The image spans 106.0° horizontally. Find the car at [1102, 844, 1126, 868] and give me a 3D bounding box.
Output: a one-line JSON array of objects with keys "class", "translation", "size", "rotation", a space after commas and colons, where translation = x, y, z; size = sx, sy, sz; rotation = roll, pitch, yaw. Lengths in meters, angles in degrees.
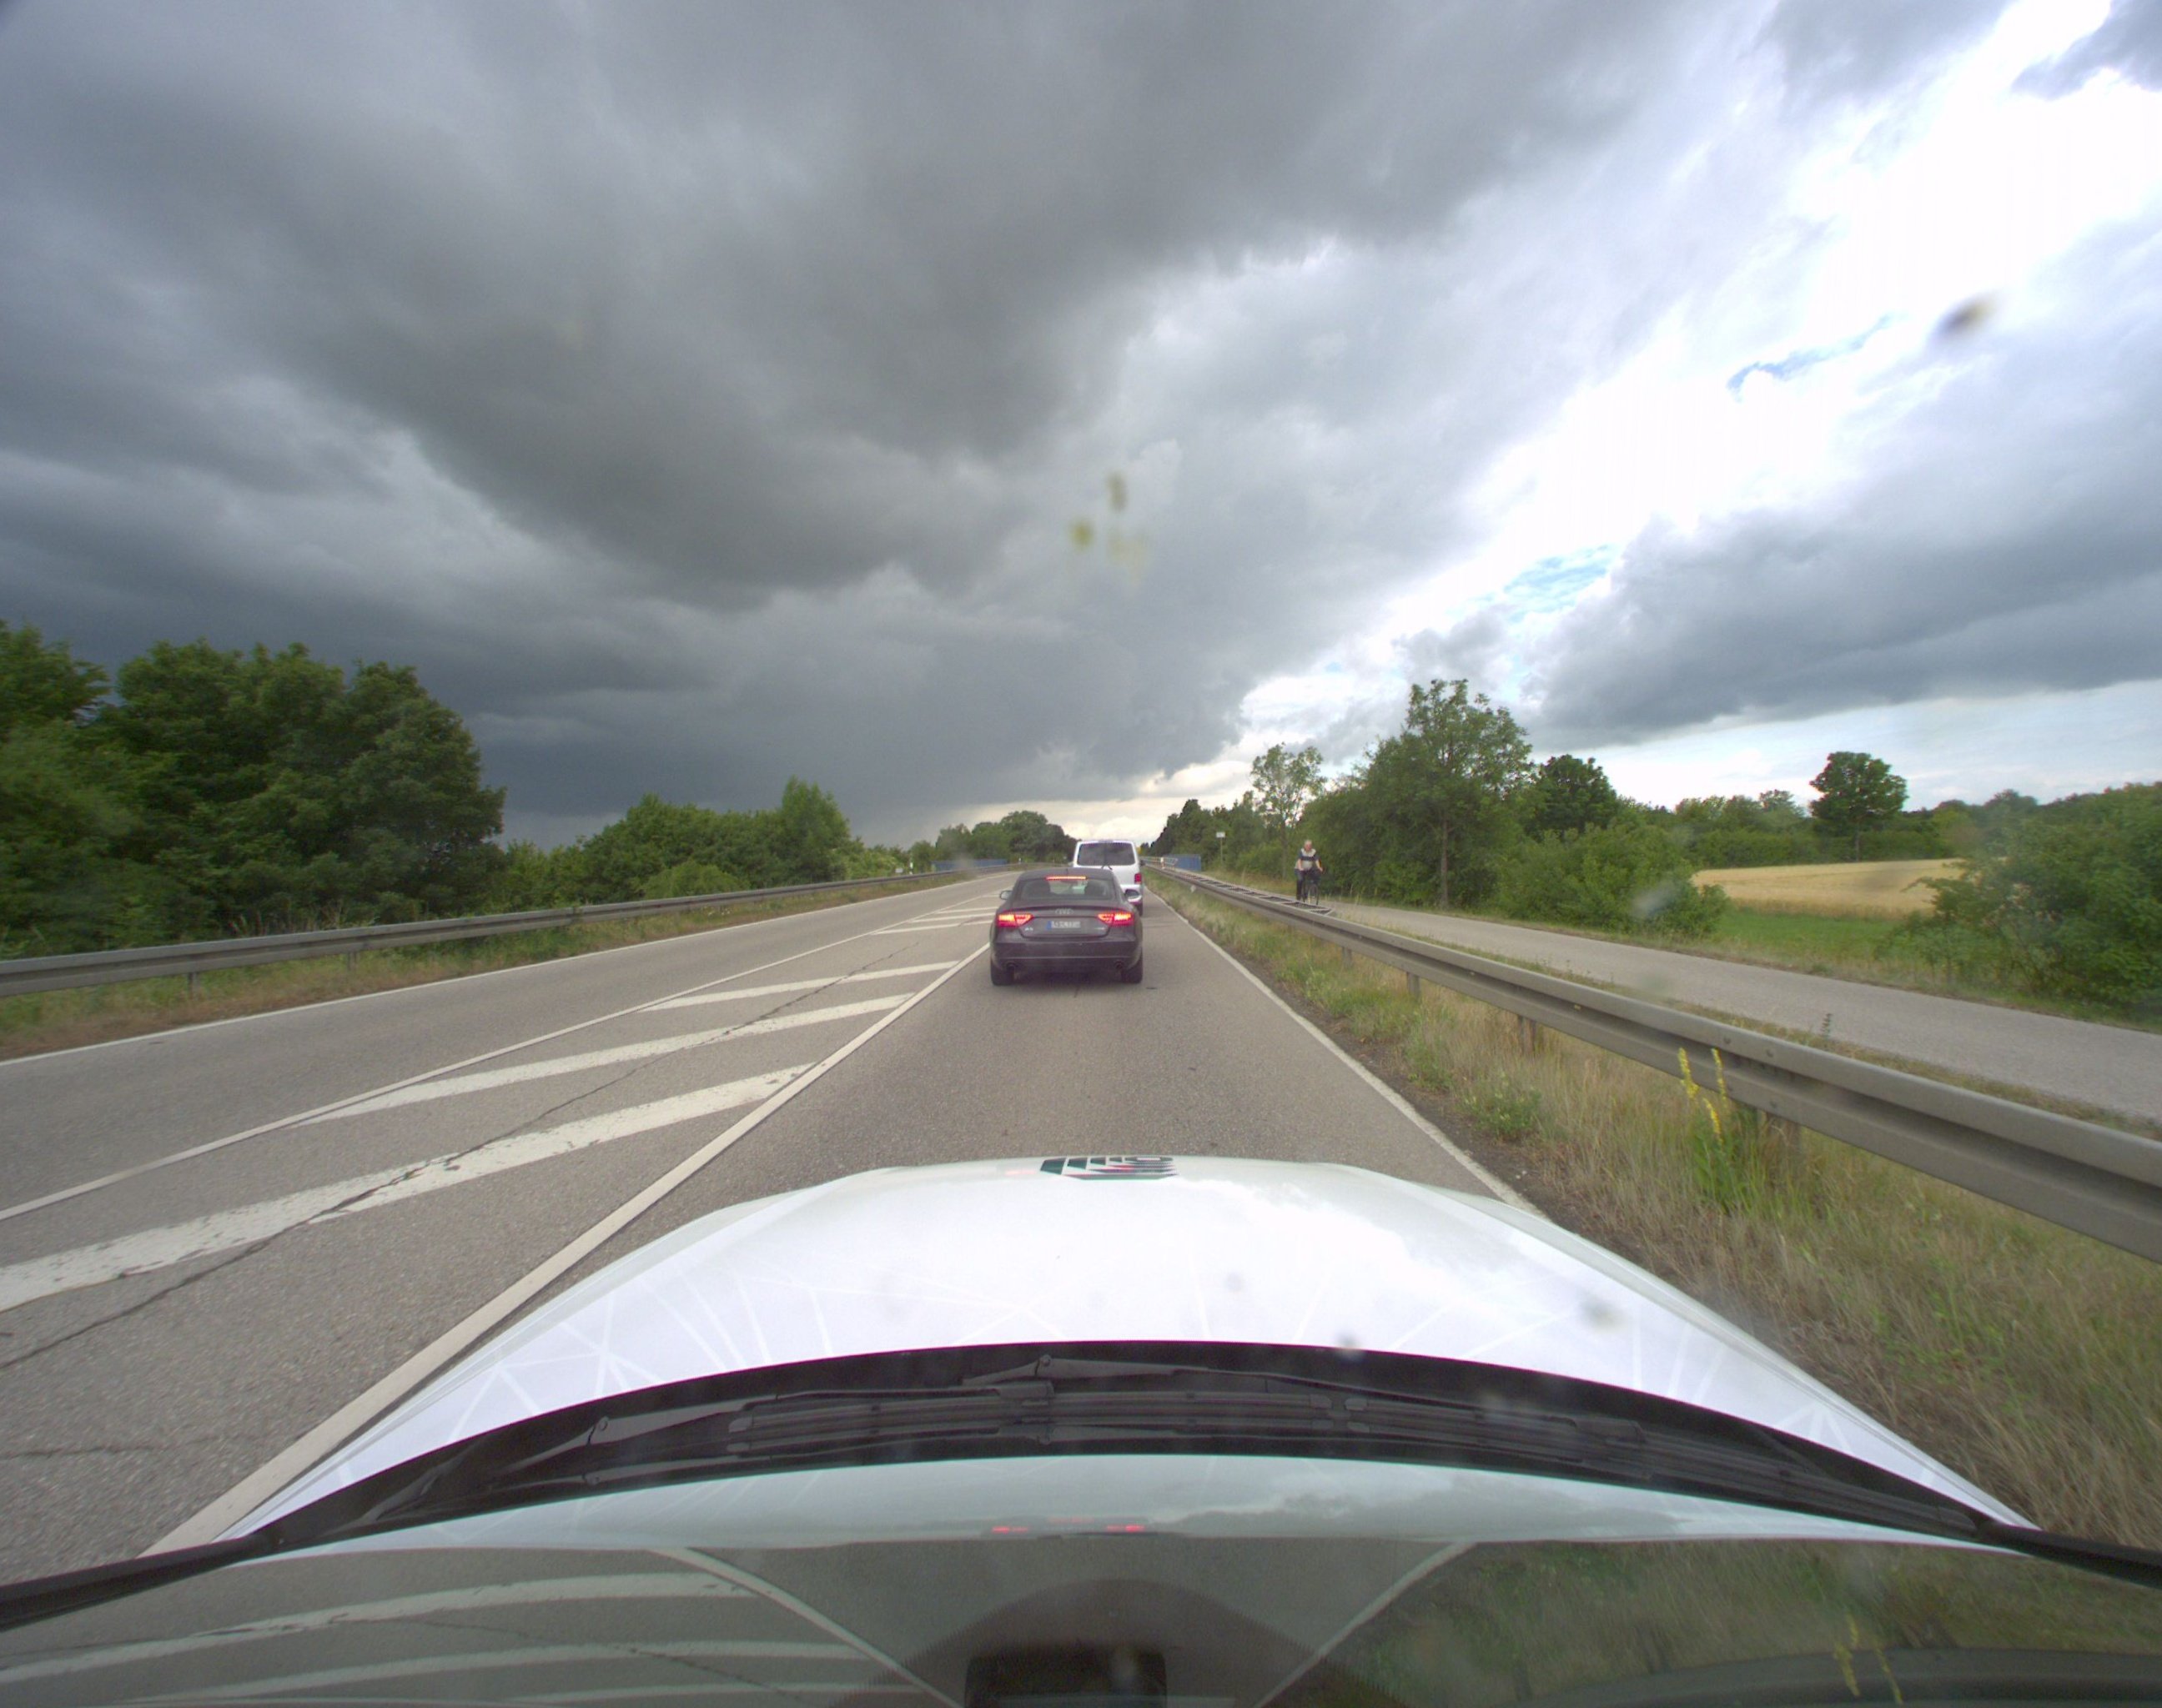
[{"class": "car", "translation": [3.570, 0.216, 87.857], "size": [2.438, 2.504, 5.044], "rotation": [0, 0, 2]}]

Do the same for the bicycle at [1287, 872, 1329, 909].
[{"class": "bicycle", "translation": [6.067, 0.960, 21.839], "size": [0.663, 0.920, 1.831], "rotation": [-2, -1, 2]}]

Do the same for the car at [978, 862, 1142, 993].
[{"class": "car", "translation": [-0.168, 0.830, 10.896], "size": [1.779, 1.424, 4.001], "rotation": [0, -1, 2]}]

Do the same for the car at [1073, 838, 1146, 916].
[{"class": "car", "translation": [0.755, 0.592, 22.035], "size": [1.779, 1.890, 4.001], "rotation": [0, -1, 2]}]

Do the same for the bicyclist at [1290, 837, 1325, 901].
[{"class": "bicyclist", "translation": [6.037, 0.395, 21.732], "size": [0.644, 1.645, 0.866], "rotation": [-2, -1, 2]}]
